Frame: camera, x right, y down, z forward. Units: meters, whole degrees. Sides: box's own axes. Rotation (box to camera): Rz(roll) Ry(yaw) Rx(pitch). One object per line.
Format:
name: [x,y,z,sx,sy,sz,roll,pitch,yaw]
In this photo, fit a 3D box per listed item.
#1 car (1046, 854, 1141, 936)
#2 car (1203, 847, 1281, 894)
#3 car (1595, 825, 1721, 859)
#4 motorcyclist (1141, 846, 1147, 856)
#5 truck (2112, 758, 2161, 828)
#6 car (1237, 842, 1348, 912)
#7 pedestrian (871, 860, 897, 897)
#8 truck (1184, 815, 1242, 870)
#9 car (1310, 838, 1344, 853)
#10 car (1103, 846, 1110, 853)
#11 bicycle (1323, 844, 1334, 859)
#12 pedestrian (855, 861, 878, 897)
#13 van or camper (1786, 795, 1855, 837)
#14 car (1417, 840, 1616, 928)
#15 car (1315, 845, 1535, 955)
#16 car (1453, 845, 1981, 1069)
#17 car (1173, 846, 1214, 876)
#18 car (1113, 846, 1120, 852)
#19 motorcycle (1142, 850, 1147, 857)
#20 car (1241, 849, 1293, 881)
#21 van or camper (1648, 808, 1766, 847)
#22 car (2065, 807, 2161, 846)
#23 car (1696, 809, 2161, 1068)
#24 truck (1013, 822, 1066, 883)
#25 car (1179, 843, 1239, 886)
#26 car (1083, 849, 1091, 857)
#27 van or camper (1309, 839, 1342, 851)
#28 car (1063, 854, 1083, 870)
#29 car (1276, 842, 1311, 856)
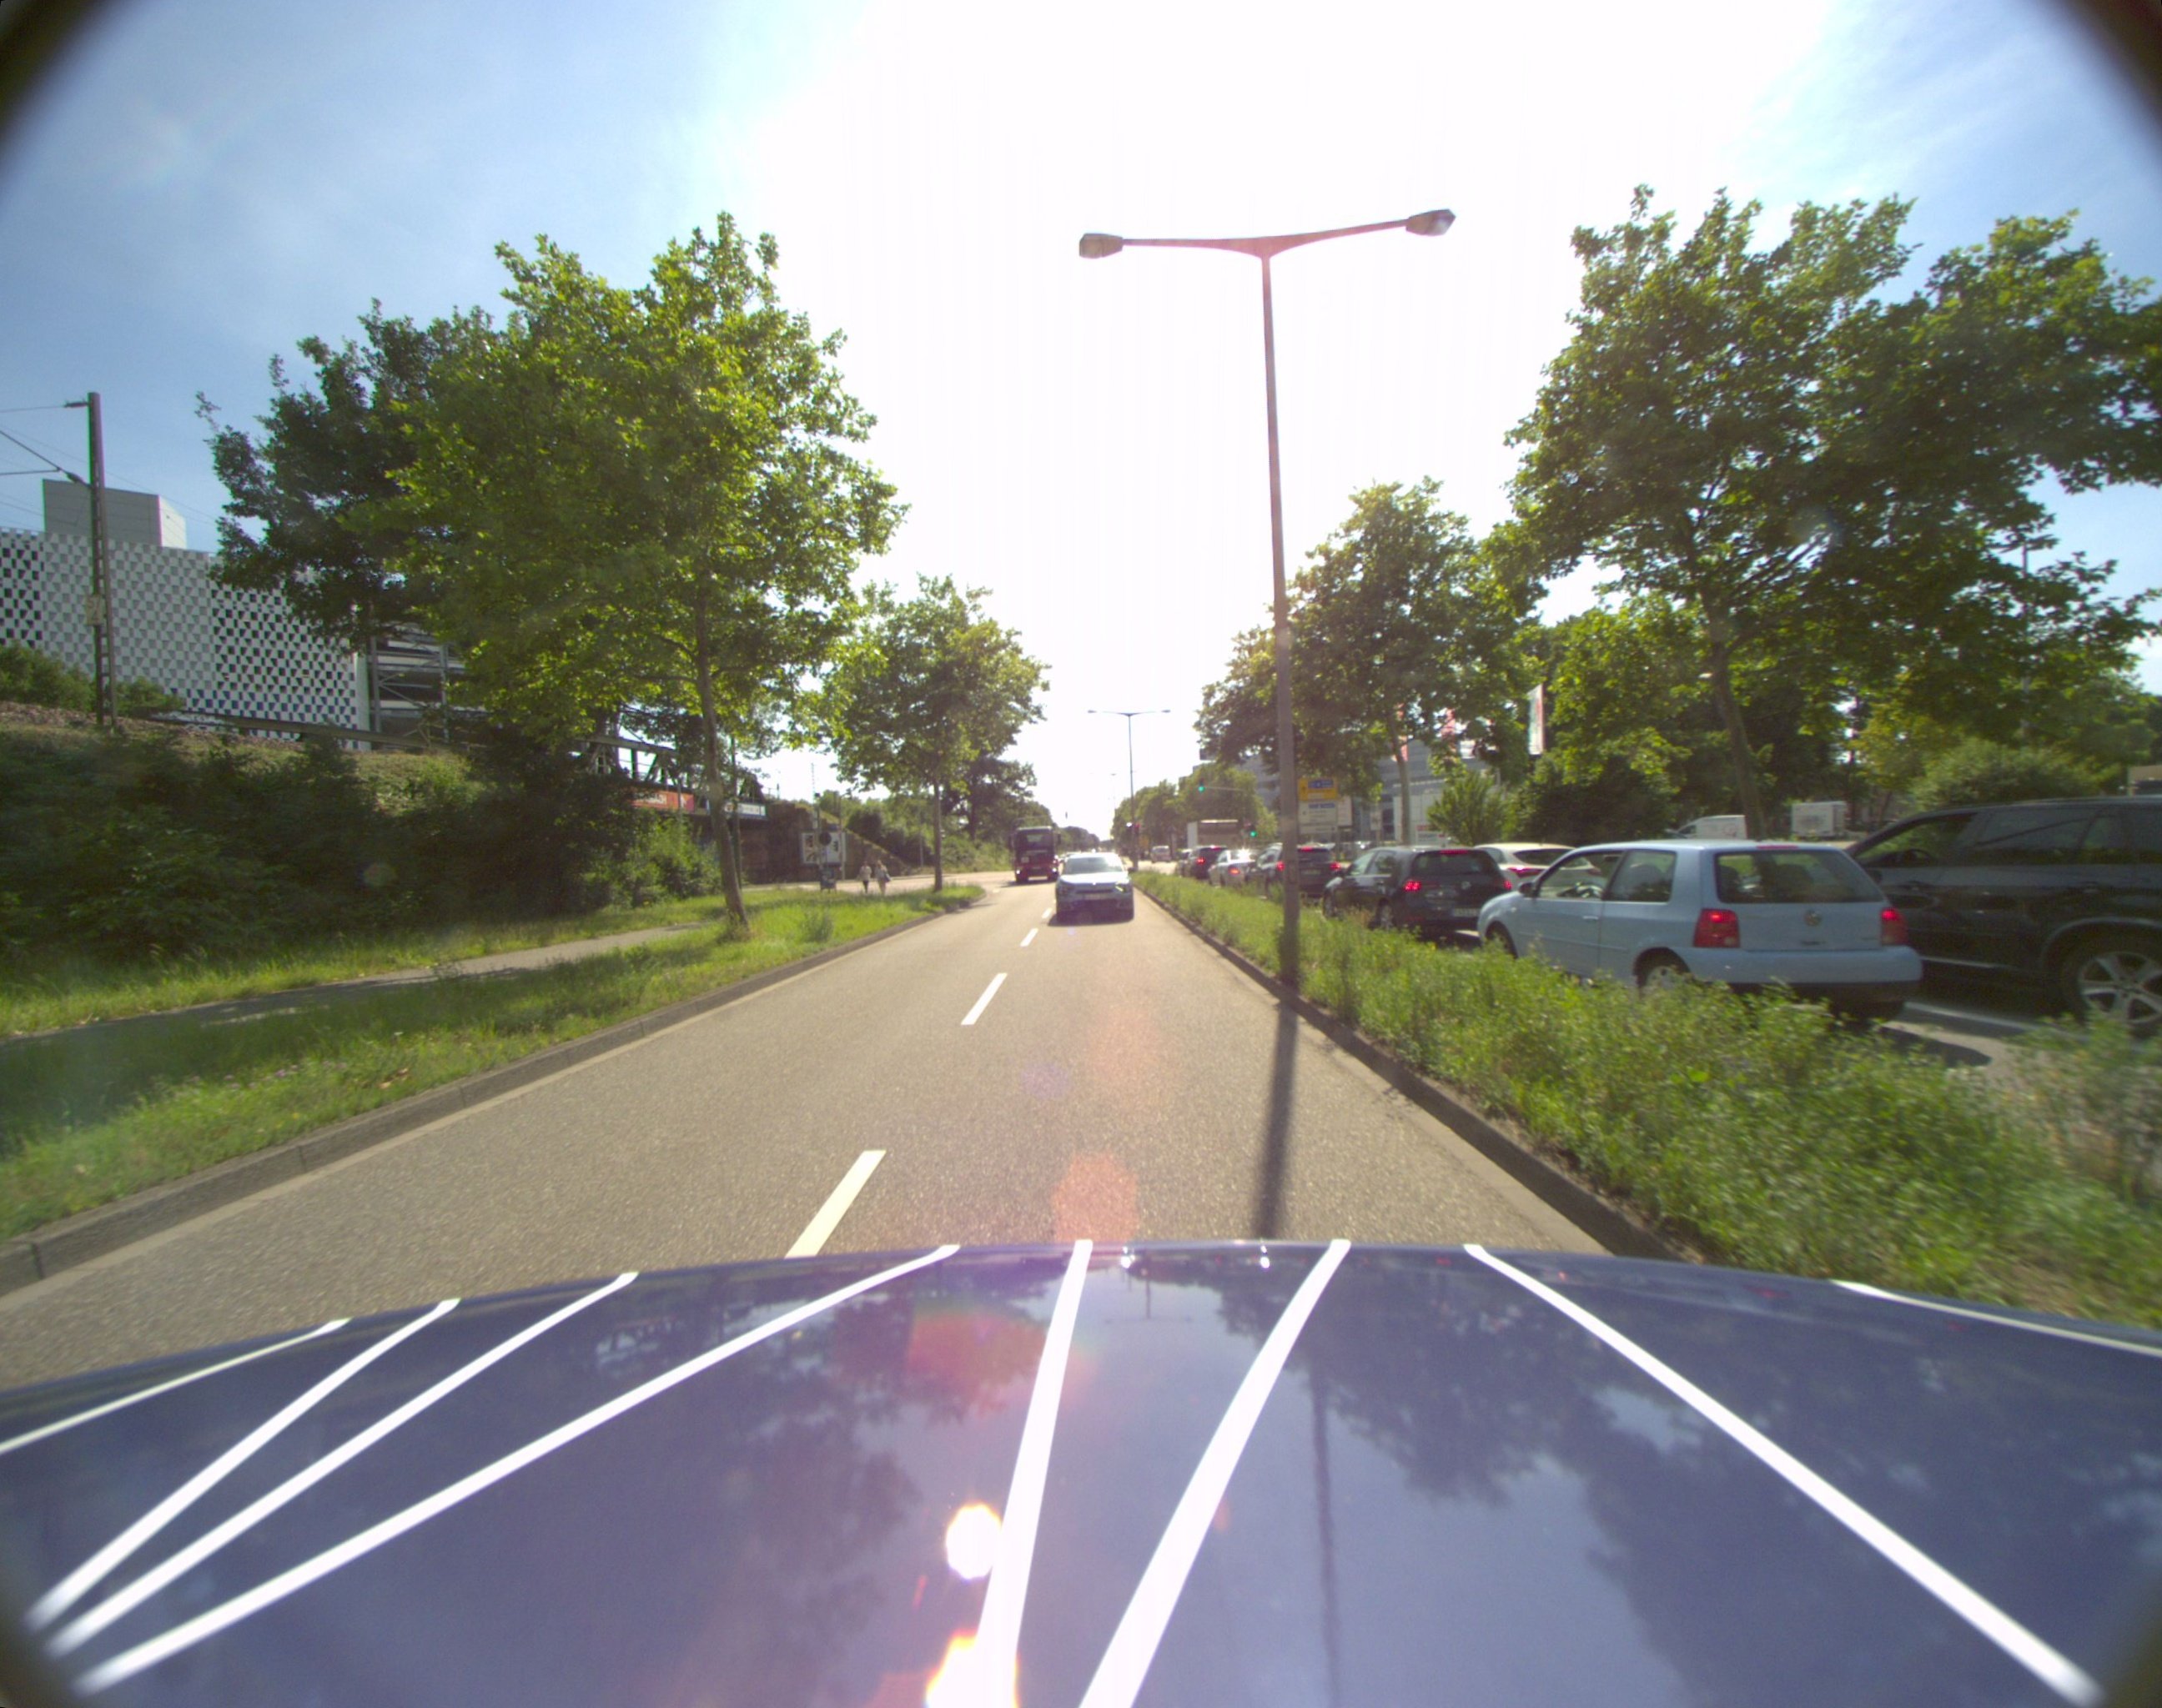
car: [0.328,0.807,17.405,1.826,1.521,4.752,-3,0,2]
car: [5.501,0.504,26.560,1.801,1.459,4.522,-1,0,1]
car: [27.910,-0.572,36.838,4.576,1.406,2.199,-3,1,-6]
motorcyclist: [9.705,-0.497,117.102,0.745,1.462,0.987,-3,1,1]
truck: [55.275,-3.041,38.779,8.941,3.292,3.152,-2,1,-36]
car: [5.326,0.522,19.697,1.693,1.577,4.240,-1,0,1]
pedestrian: [-8.795,1.089,33.986,0.870,1.602,0.777,-3,1,0]
truck: [8.928,-0.740,52.139,2.811,3.451,6.691,-1,0,0]
car: [30.507,-1.054,94.039,4.007,1.689,1.995,-3,1,-37]
car: [7.763,-1.501,229.582,1.998,2.002,4.000,-3,0,1]
bicycle: [18.455,-0.182,56.655,0.595,1.031,1.897,-2,1,15]
pedestrian: [-9.689,1.135,34.346,0.731,1.570,0.777,-3,1,0]
van or camper: [60.541,-3.139,62.139,6.335,3.083,2.705,-4,1,-34]
car: [8.596,0.523,15.455,1.693,1.521,4.083,-1,0,0]
car: [5.282,0.609,12.326,1.693,1.465,4.218,-1,0,1]
car: [5.203,0.685,7.009,1.693,1.463,3.814,-1,0,1]
car: [5.807,0.344,39.451,1.597,1.468,3.729,-1,0,1]
car: [9.577,-1.392,204.742,1.653,1.505,3.735,-3,0,1]
motorcycle: [9.774,-0.095,117.130,0.689,0.985,2.217,-3,0,1]
car: [8.758,0.488,36.017,1.568,1.444,3.544,-2,0,1]
van or camper: [40.942,-1.700,49.857,2.199,2.197,5.505,-3,1,-33]
car: [46.196,-1.229,32.902,1.825,1.563,4.269,-3,1,-35]
car: [8.064,0.511,6.423,1.826,1.727,4.767,-2,1,-1]
truck: [-2.412,-0.112,45.570,2.776,3.248,7.481,-3,0,-2]
car: [5.476,0.383,32.958,1.824,1.637,4.693,-1,1,1]
car: [1.501,-0.253,193.413,1.998,2.002,4.000,-2,0,1]
van or camper: [38.266,-1.412,118.991,2.003,1.682,4.501,-3,0,-37]
car: [-0.814,0.796,78.675,1.826,1.521,4.548,-3,0,2]
car: [25.187,-0.561,90.171,4.007,1.441,1.843,-3,1,-35]
